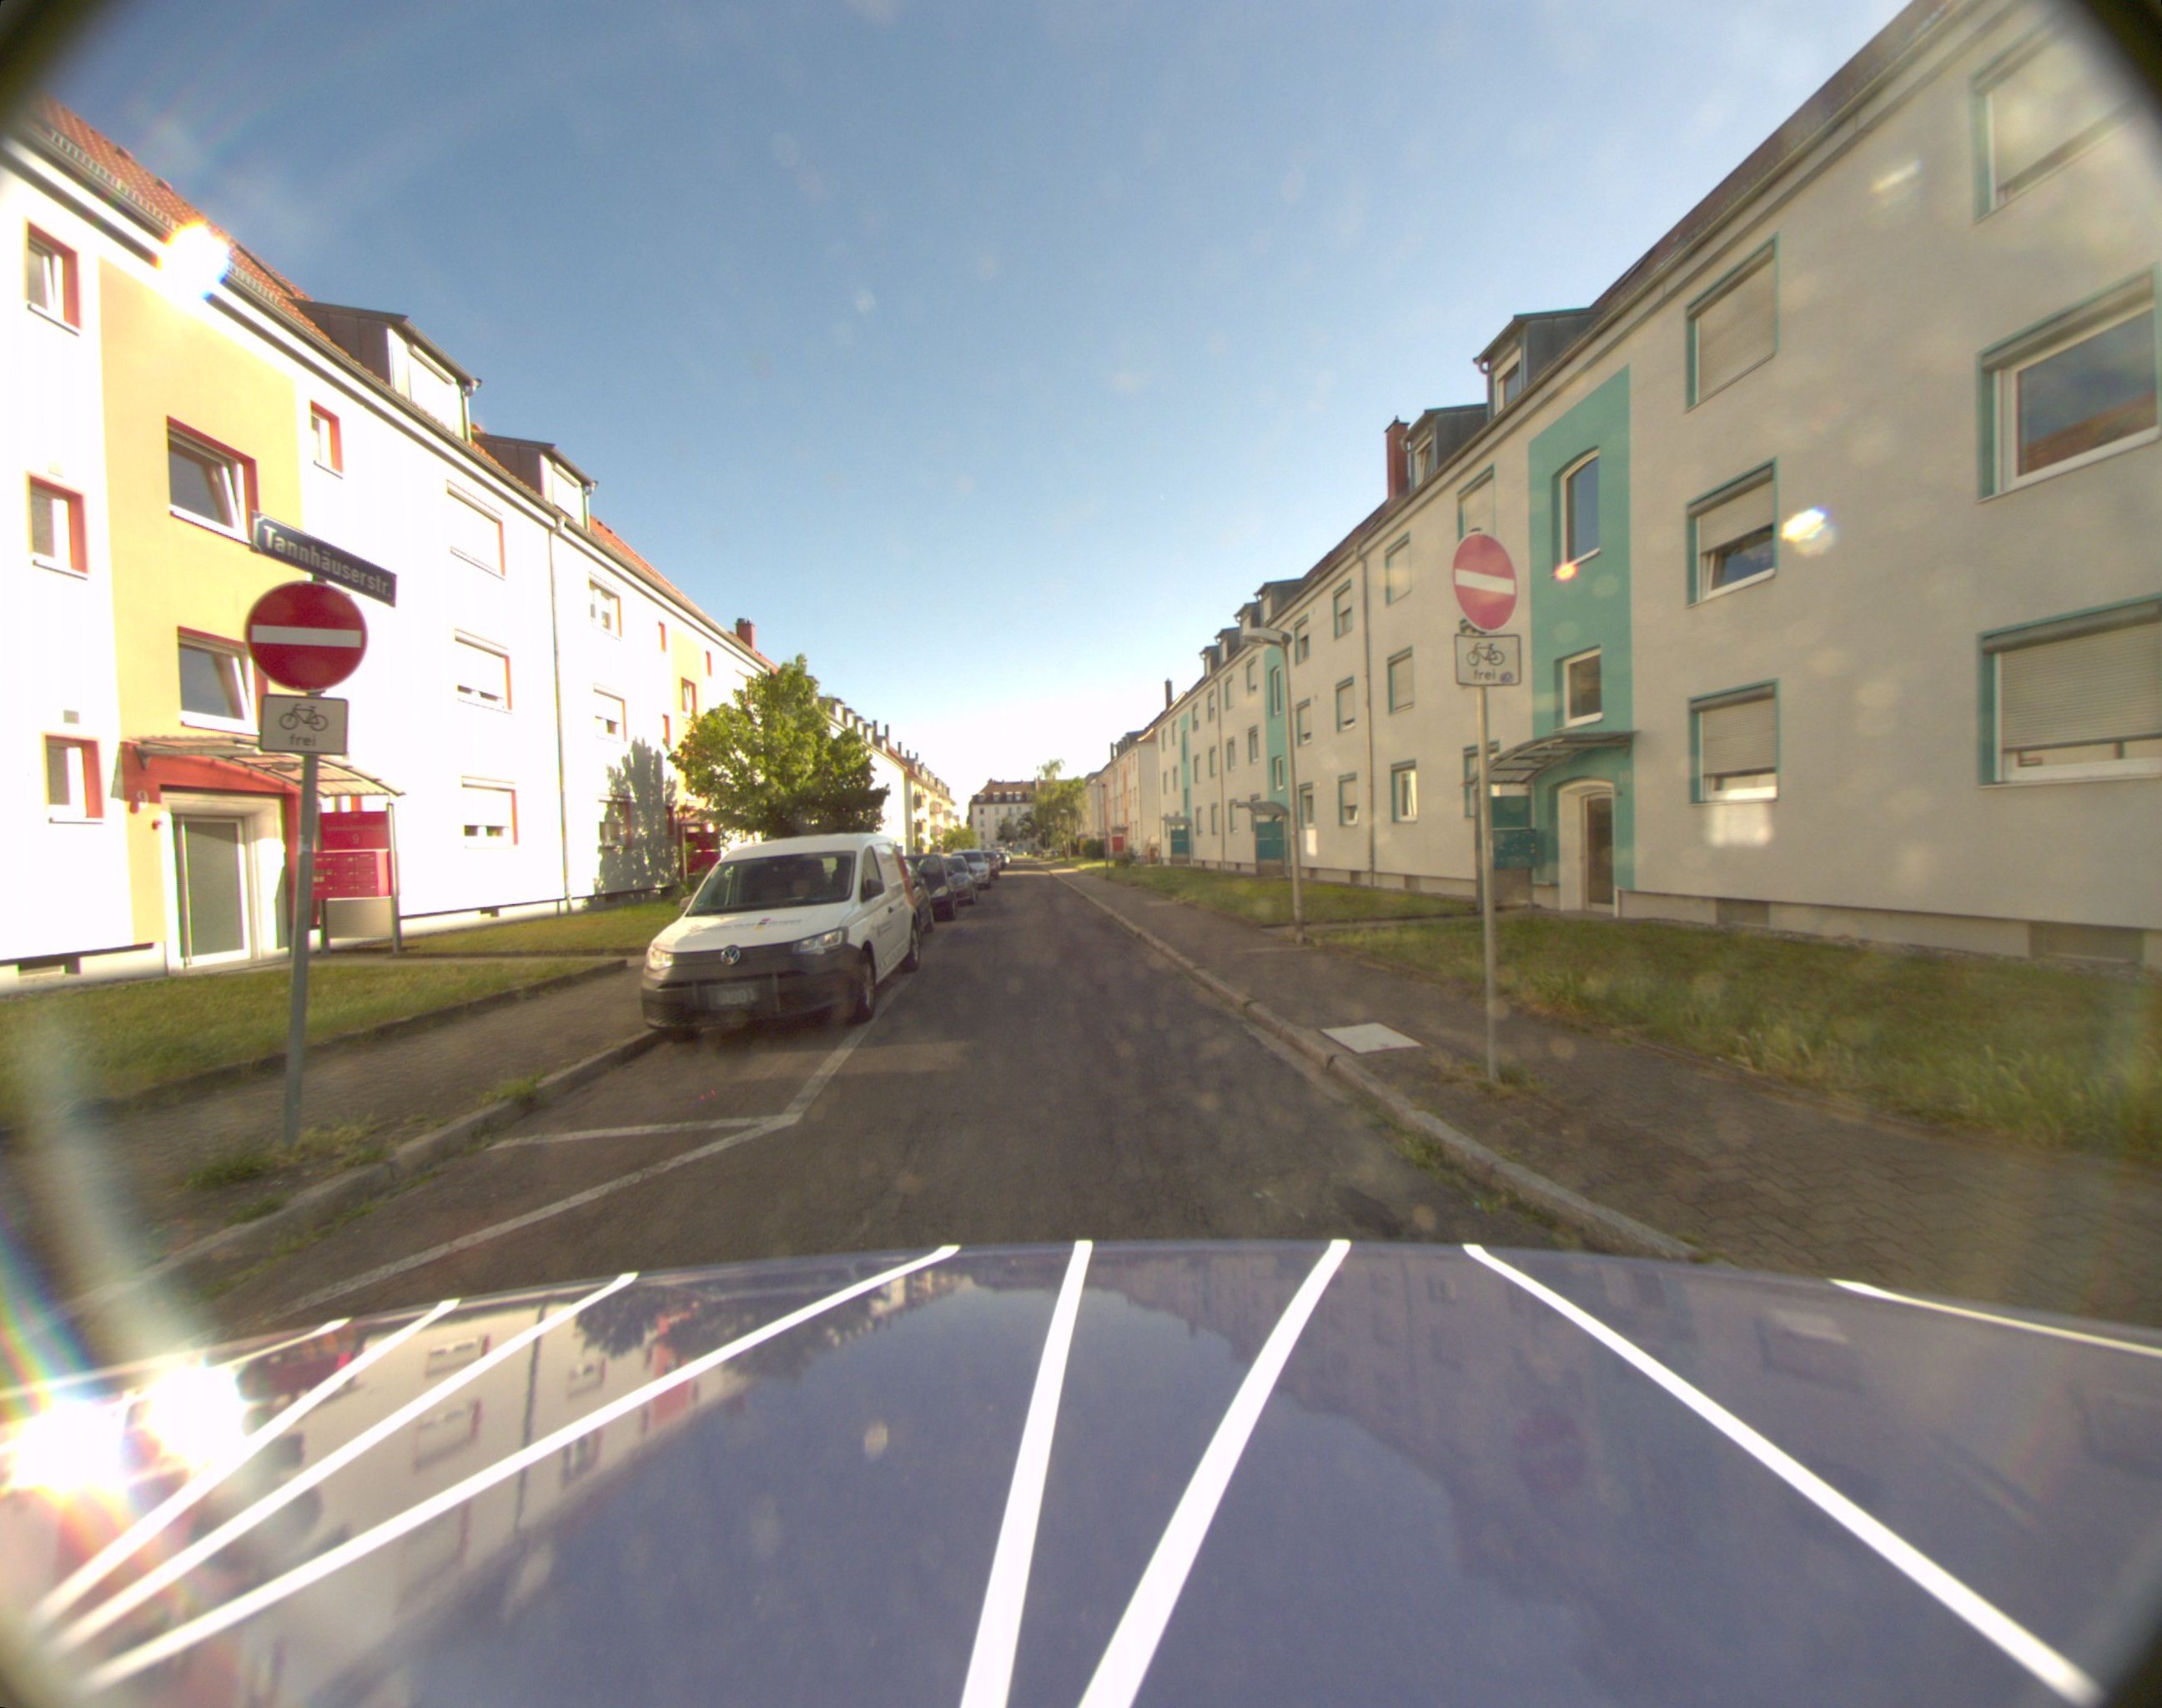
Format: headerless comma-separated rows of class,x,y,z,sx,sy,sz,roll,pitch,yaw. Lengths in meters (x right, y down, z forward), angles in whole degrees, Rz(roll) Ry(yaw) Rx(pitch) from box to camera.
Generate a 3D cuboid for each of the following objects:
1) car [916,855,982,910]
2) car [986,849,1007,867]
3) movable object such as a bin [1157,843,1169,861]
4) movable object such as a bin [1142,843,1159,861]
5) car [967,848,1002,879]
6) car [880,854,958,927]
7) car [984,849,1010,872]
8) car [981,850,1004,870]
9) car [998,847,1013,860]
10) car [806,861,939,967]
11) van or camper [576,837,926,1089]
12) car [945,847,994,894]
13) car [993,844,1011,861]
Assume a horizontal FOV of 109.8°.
car,-3.869,0.787,22.726,1.633,1.442,3.949,-2,0,-6
car,-7.484,0.326,67.379,1.709,1.562,4.039,-1,1,-5
movable object such as a bin,6.381,-0.172,59.157,0.753,1.385,0.762,-1,1,-5
movable object such as a bin,5.391,-0.146,59.063,1.167,1.385,0.877,-1,1,-5
car,-5.344,0.501,42.547,1.732,1.597,4.421,-1,1,-5
car,-3.798,0.785,18.297,1.622,1.541,3.608,-1,1,-9
car,-5.972,0.453,54.345,1.709,1.562,3.874,-1,1,-5
car,-7.127,0.456,61.532,1.709,1.562,4.039,-1,1,-5
car,-9.718,-0.114,98.449,1.709,1.562,4.732,-1,2,-4
car,-3.498,0.923,13.390,1.577,1.409,3.785,-4,1,-6
van or camper,-2.958,0.783,8.108,1.797,1.738,4.732,-5,1,-4
car,-4.583,0.607,31.742,1.781,1.709,4.304,-4,1,-7
car,-9.570,-0.222,92.737,1.954,1.890,4.761,-1,2,-4
